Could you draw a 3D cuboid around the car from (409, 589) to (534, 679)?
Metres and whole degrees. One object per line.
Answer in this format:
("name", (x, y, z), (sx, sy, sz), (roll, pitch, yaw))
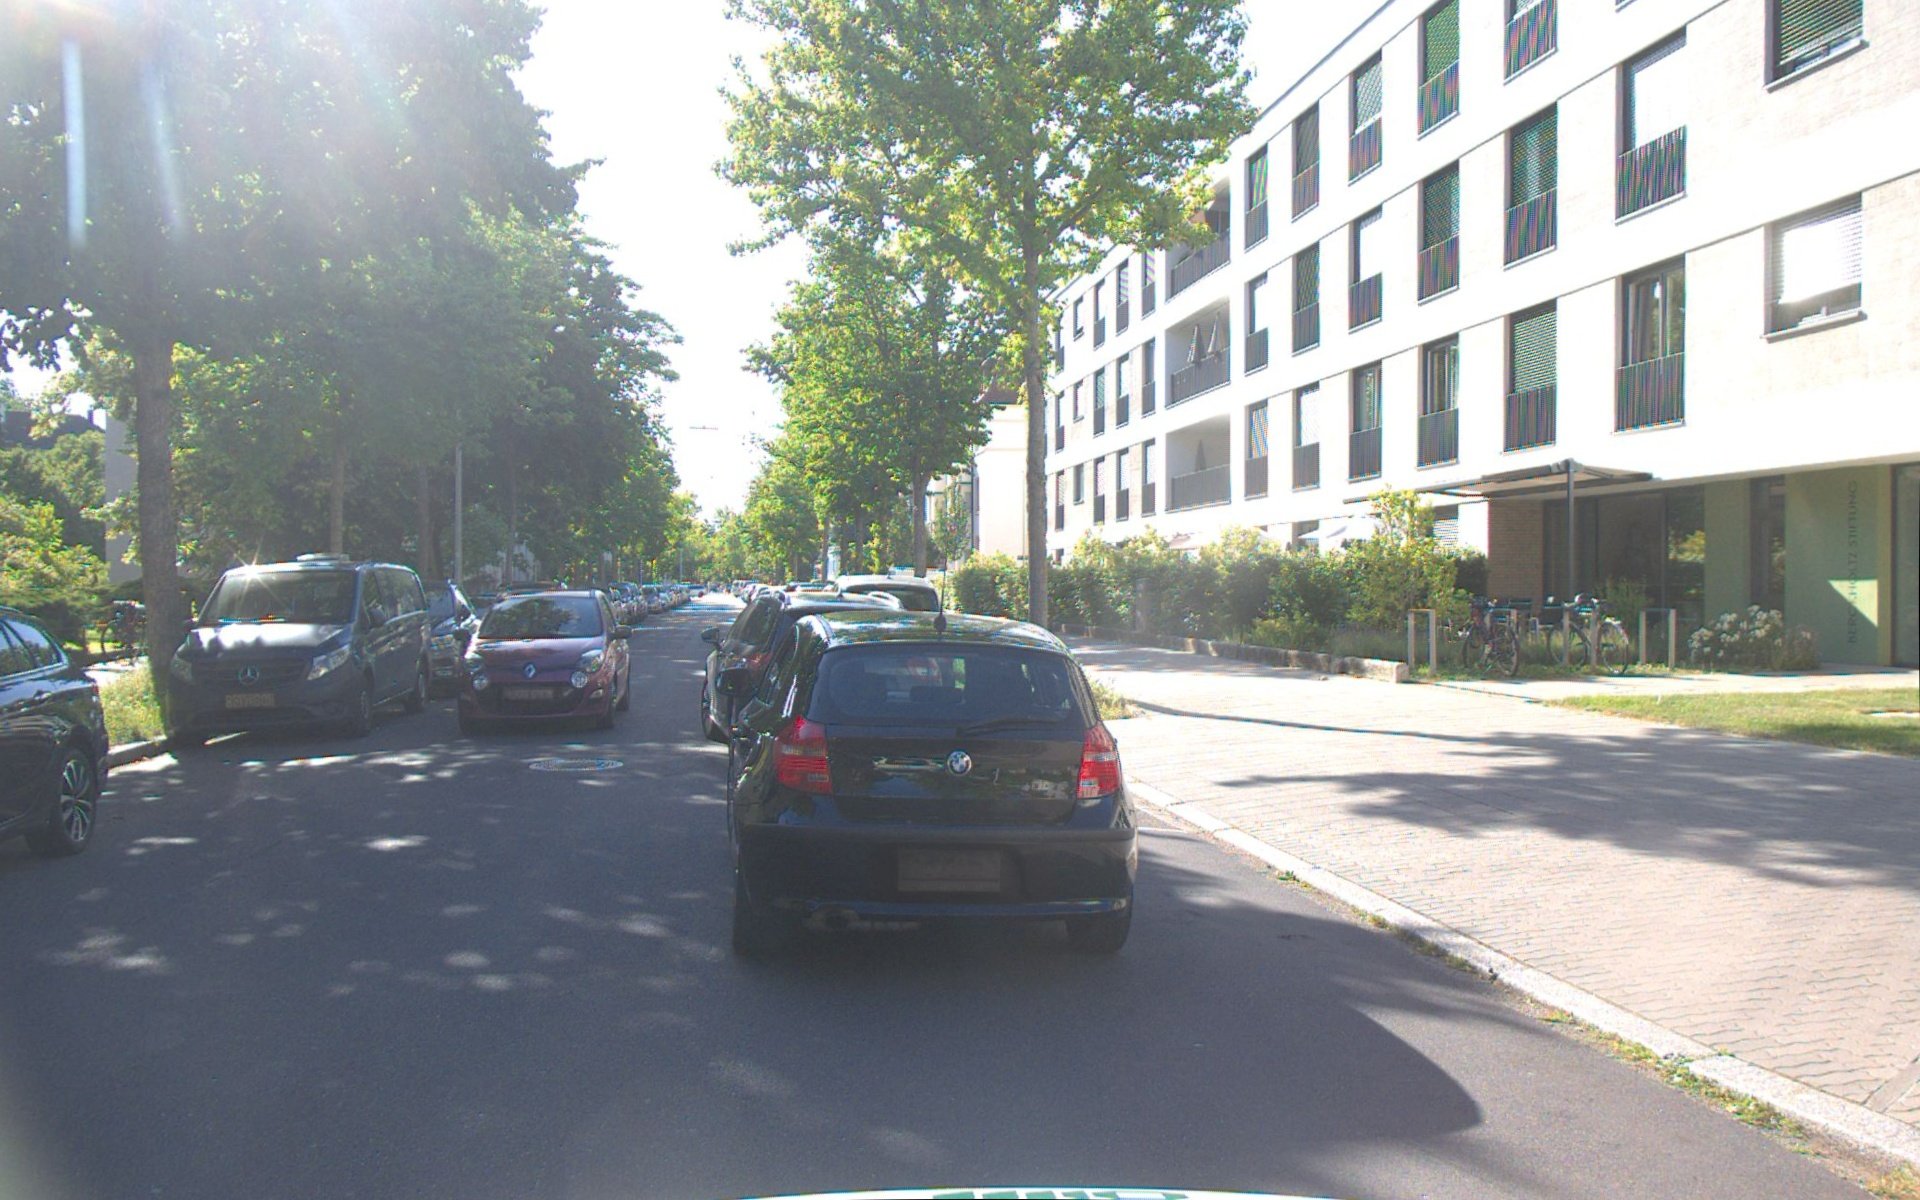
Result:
("car", (-8.687, 0.549, 29.684), (1.582, 1.452, 4.050), (-2, 1, -9))

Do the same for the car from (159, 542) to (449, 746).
("car", (-7.219, 0.398, 18.796), (1.792, 1.937, 5.133), (-2, 1, -7))

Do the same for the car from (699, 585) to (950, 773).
("car", (-1.372, 0.604, 15.200), (1.622, 1.450, 3.985), (-1, 1, -15))

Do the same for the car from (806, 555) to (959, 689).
("car", (-1.165, 0.279, 22.855), (1.812, 1.659, 4.404), (0, 0, -7))

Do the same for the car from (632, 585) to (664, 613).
("car", (-17.031, -0.072, 90.432), (1.582, 1.416, 3.858), (-2, 1, -9))

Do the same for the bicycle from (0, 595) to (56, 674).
("bicycle", (-15.615, 0.549, 26.255), (2.113, 1.230, 0.686), (-1, 1, -20))

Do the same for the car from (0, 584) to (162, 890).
("car", (-5.711, 0.738, 8.484), (1.479, 1.575, 4.769), (-3, 1, -8))

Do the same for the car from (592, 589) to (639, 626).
("car", (-13.811, 0.275, 66.481), (1.582, 1.416, 3.858), (-2, 1, -9))

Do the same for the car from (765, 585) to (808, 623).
("car", (-7.211, 0.144, 68.455), (1.688, 1.506, 3.845), (2, 0, -7))

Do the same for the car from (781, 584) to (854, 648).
("car", (-3.728, 0.379, 42.822), (1.688, 1.555, 3.994), (2, 0, -7))

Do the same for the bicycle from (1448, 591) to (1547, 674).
("bicycle", (7.364, 0.427, 22.745), (0.536, 1.073, 1.687), (-1, 1, -11))

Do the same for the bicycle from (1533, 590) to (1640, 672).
("bicycle", (8.682, 0.408, 22.985), (0.536, 1.073, 1.775), (-1, 1, -11))

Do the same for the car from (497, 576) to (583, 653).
("car", (-10.123, 0.312, 40.101), (1.582, 1.708, 4.226), (-2, 1, -9))

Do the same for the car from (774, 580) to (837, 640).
("car", (-4.584, 0.268, 48.757), (1.688, 1.669, 3.845), (2, 0, -7))

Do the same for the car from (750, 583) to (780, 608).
("car", (-12.165, -0.308, 103.335), (1.687, 1.506, 3.847), (-1, 1, -5))

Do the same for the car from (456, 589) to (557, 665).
("car", (-9.448, 0.524, 34.711), (1.582, 1.452, 3.718), (-2, 1, -9))

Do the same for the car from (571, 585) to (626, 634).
("car", (-12.464, 0.294, 57.137), (1.582, 1.570, 3.858), (-2, 1, -9))

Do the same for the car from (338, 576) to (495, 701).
("car", (-7.926, 0.498, 24.440), (1.583, 1.639, 4.219), (-2, 1, -10))

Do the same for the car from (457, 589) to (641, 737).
("car", (-4.463, 0.625, 18.319), (1.476, 1.451, 3.174), (-1, 1, -5))

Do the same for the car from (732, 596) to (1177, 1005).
("car", (-0.233, 0.726, 7.816), (1.619, 1.421, 3.405), (-1, 1, -9))

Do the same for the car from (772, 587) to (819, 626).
("car", (-6.377, 0.235, 63.748), (1.688, 1.403, 3.845), (2, 0, -7))

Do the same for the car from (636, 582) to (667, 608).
("car", (-17.845, -0.312, 95.784), (1.582, 1.416, 3.858), (-2, 1, -9))

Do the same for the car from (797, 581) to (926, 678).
("car", (-1.775, 0.466, 28.544), (1.664, 1.550, 3.988), (0, 0, -12))
